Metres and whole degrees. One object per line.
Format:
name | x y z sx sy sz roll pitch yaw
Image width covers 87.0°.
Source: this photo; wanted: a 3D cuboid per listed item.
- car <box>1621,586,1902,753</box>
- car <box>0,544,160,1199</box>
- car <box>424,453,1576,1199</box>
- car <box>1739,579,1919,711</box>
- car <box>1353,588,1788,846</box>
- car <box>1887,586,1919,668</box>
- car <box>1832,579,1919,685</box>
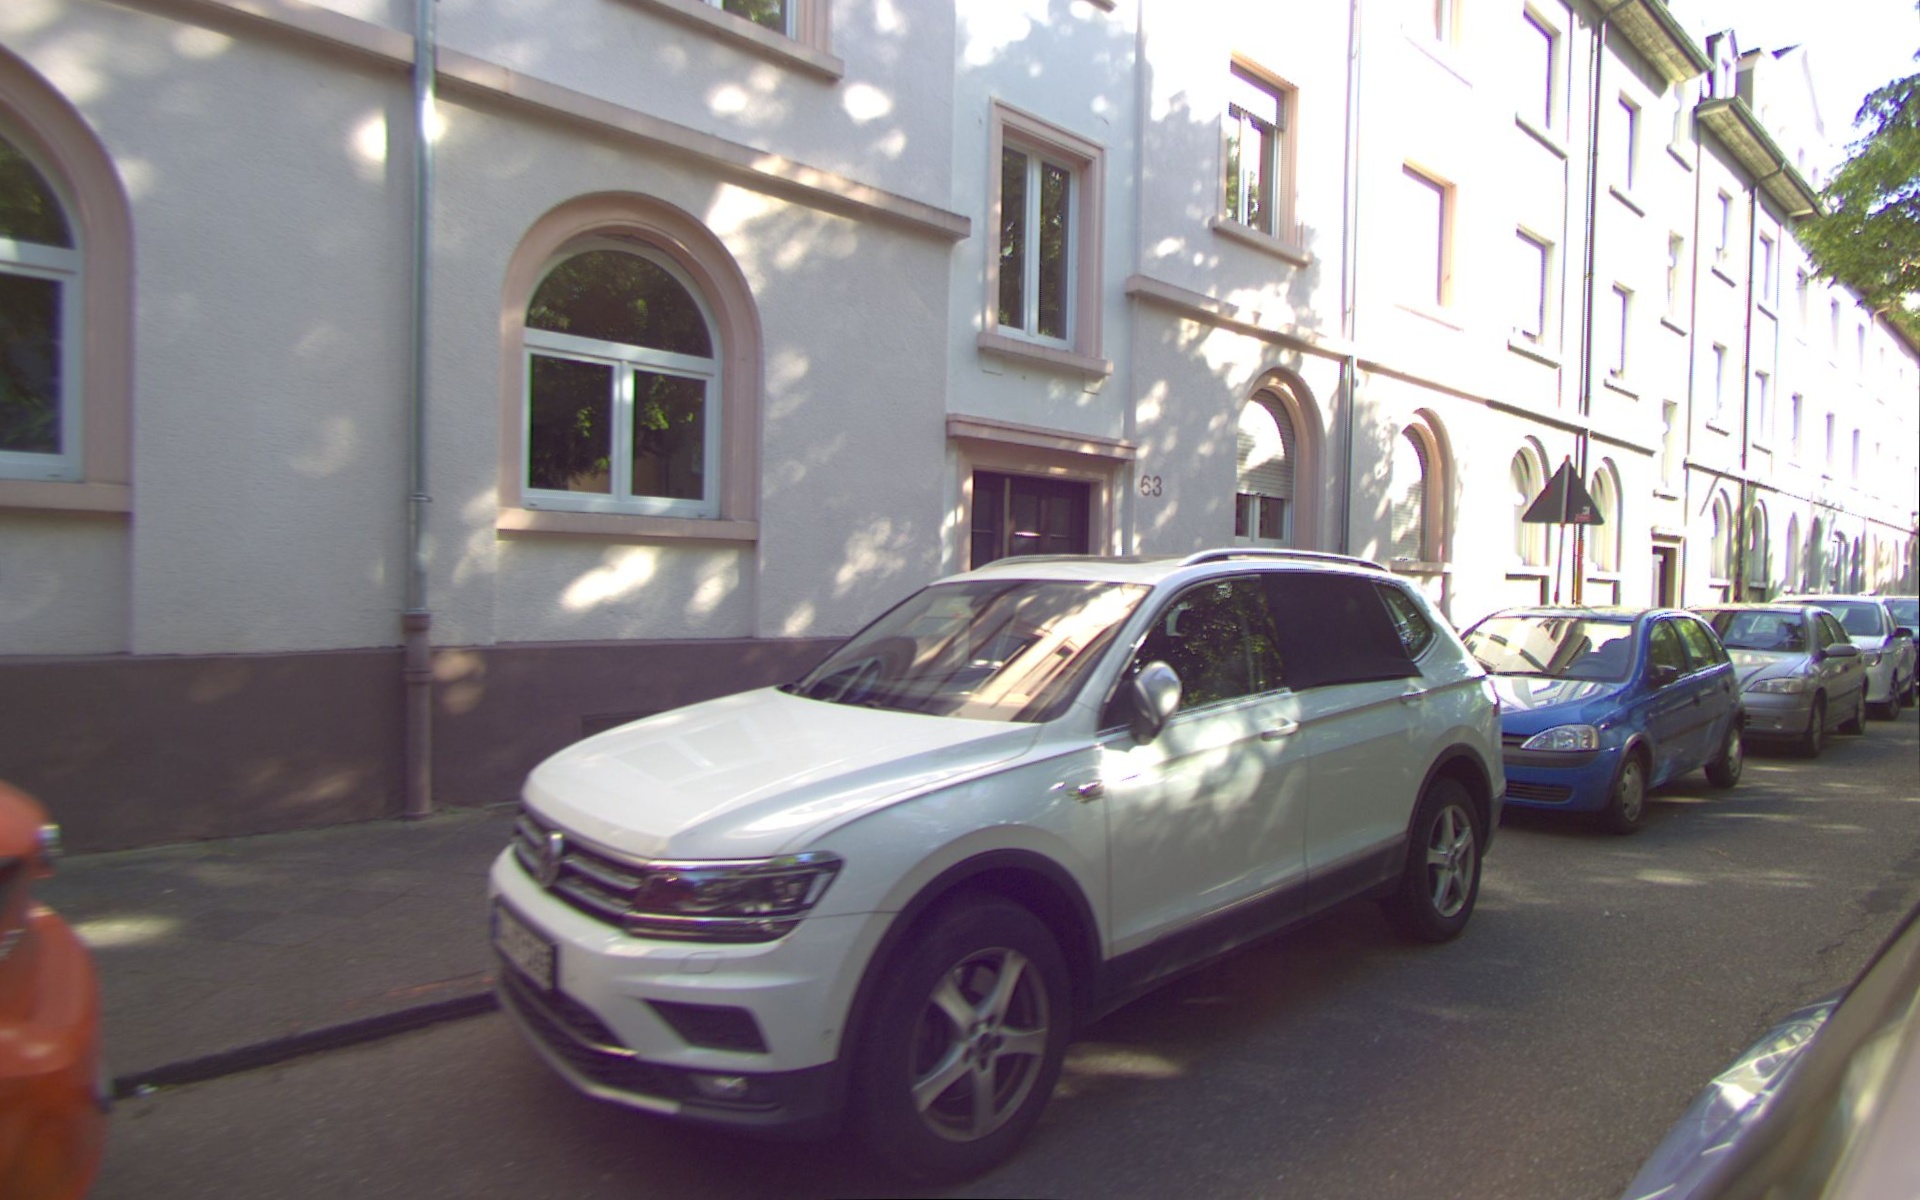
car | 8.588 0.587 10.722 4.018 1.430 1.633 0 1 -41
car | -3.269 0.678 0.877 3.898 1.543 1.792 0 1 -44
car | 0.591 0.550 4.064 4.590 1.695 1.820 0 1 -40
car | 12.084 0.517 13.813 3.530 1.554 1.633 0 1 -41
car | 4.646 0.647 7.504 3.720 1.430 1.621 0 1 -40
car | 20.006 0.514 20.275 4.086 1.547 1.725 0 1 -42
car | 16.102 0.484 17.029 4.088 1.616 1.724 0 1 -43
